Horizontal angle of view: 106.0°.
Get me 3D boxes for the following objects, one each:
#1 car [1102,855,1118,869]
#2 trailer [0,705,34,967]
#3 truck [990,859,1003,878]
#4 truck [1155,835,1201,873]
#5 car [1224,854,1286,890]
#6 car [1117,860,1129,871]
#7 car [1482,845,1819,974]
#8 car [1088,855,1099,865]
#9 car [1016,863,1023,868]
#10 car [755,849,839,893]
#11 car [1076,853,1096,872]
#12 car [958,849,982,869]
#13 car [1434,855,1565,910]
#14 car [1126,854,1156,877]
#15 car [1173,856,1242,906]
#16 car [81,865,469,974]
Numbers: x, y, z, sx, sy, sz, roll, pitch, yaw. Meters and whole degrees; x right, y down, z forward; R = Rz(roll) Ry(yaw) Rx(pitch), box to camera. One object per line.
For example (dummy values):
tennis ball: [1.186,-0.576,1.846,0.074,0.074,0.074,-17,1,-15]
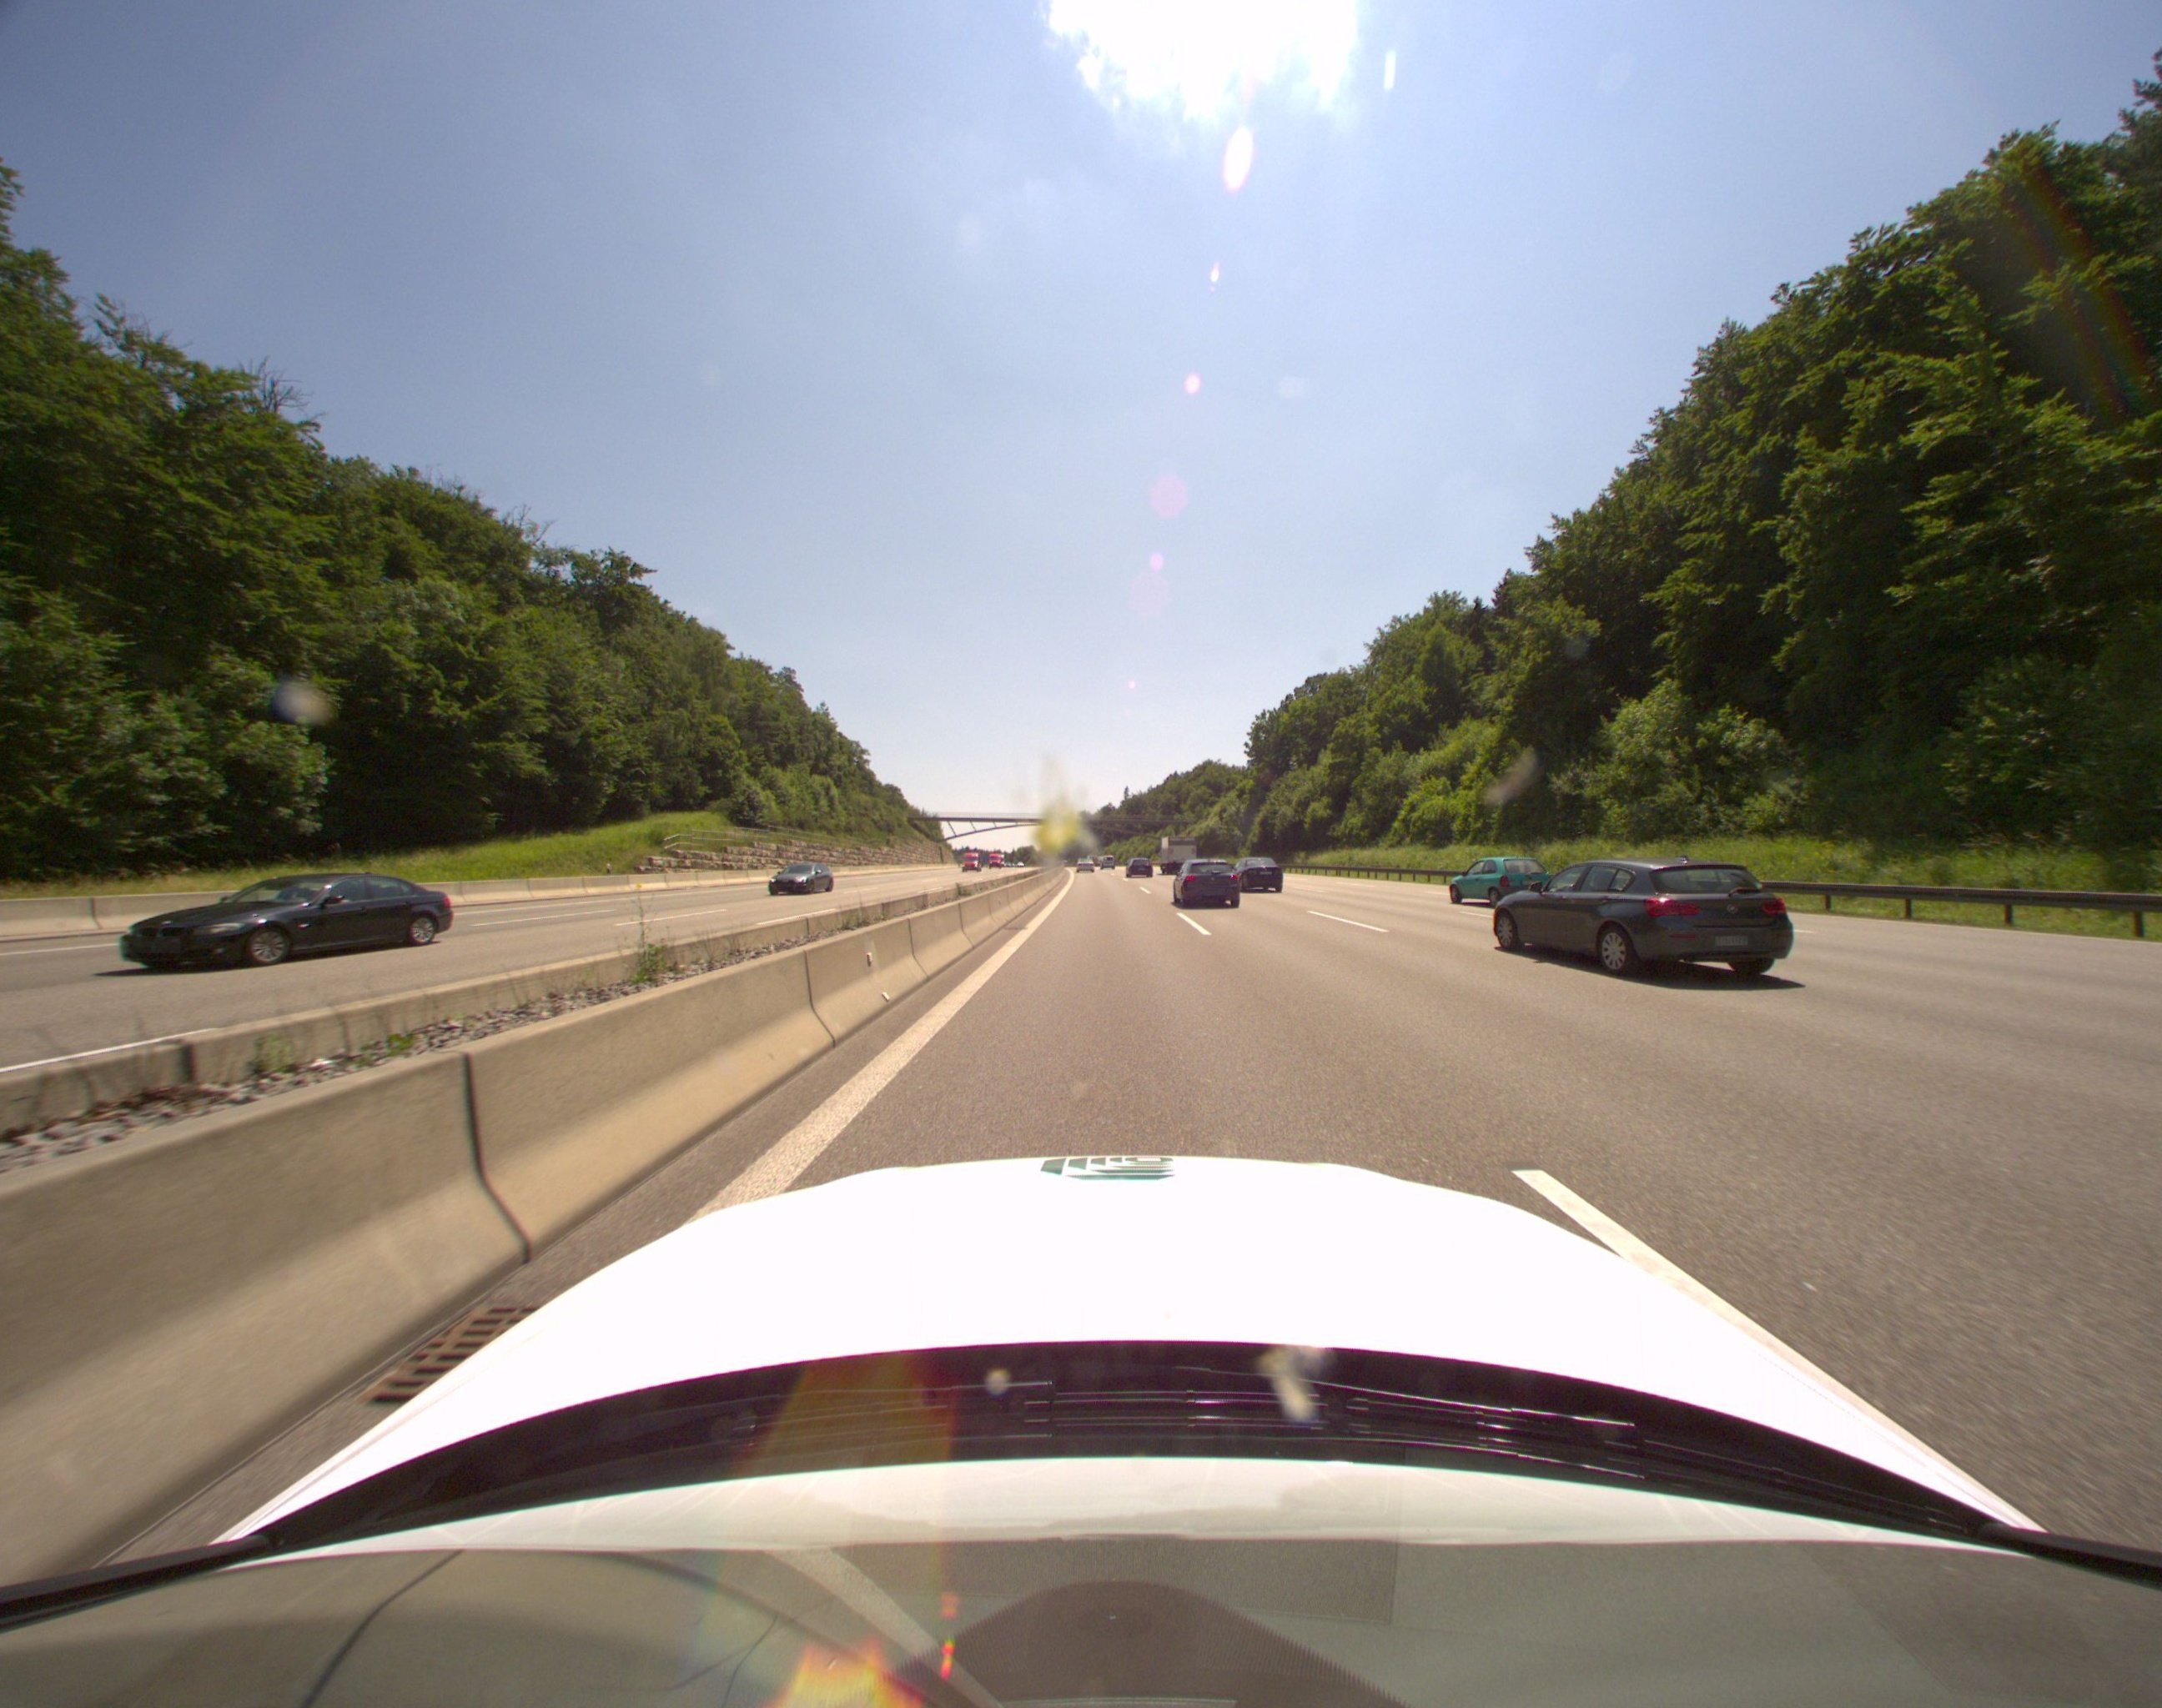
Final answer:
car: [3.888,1.066,110.740,2.096,1.744,4.688,-1,0,1]
trailer: [-18.177,-0.281,6.037,2.712,4.004,13.732,-1,0,2]
truck: [-14.295,2.359,138.066,2.108,2.976,6.998,0,1,-7]
truck: [8.331,0.000,71.030,2.977,3.167,7.571,-1,0,-1]
car: [7.413,0.724,35.158,1.660,1.408,4.903,-1,0,1]
car: [7.639,2.131,148.575,2.137,1.858,4.001,0,1,1]
car: [7.266,0.622,11.008,1.696,1.396,4.154,-1,0,1]
car: [2.822,1.372,184.583,2.257,2.371,4.702,-1,-1,1]
car: [-19.110,3.580,252.576,1.896,1.496,4.800,-1,0,-3]
car: [-12.891,0.775,37.371,1.987,1.872,5.250,1,-1,0]
car: [0.480,0.926,85.899,2.007,1.846,3.996,0,-4,-2]
car: [-13.398,0.567,98.552,1.987,2.336,5.544,-1,0,1]
car: [12.128,0.779,23.927,1.540,1.444,4.338,-1,0,-1]
car: [4.474,0.828,61.203,1.987,1.634,4.760,-1,0,1]
car: [3.879,0.795,25.539,1.701,1.433,4.002,0,0,2]
car: [-13.296,0.973,13.975,1.986,1.483,4.582,-1,0,2]
